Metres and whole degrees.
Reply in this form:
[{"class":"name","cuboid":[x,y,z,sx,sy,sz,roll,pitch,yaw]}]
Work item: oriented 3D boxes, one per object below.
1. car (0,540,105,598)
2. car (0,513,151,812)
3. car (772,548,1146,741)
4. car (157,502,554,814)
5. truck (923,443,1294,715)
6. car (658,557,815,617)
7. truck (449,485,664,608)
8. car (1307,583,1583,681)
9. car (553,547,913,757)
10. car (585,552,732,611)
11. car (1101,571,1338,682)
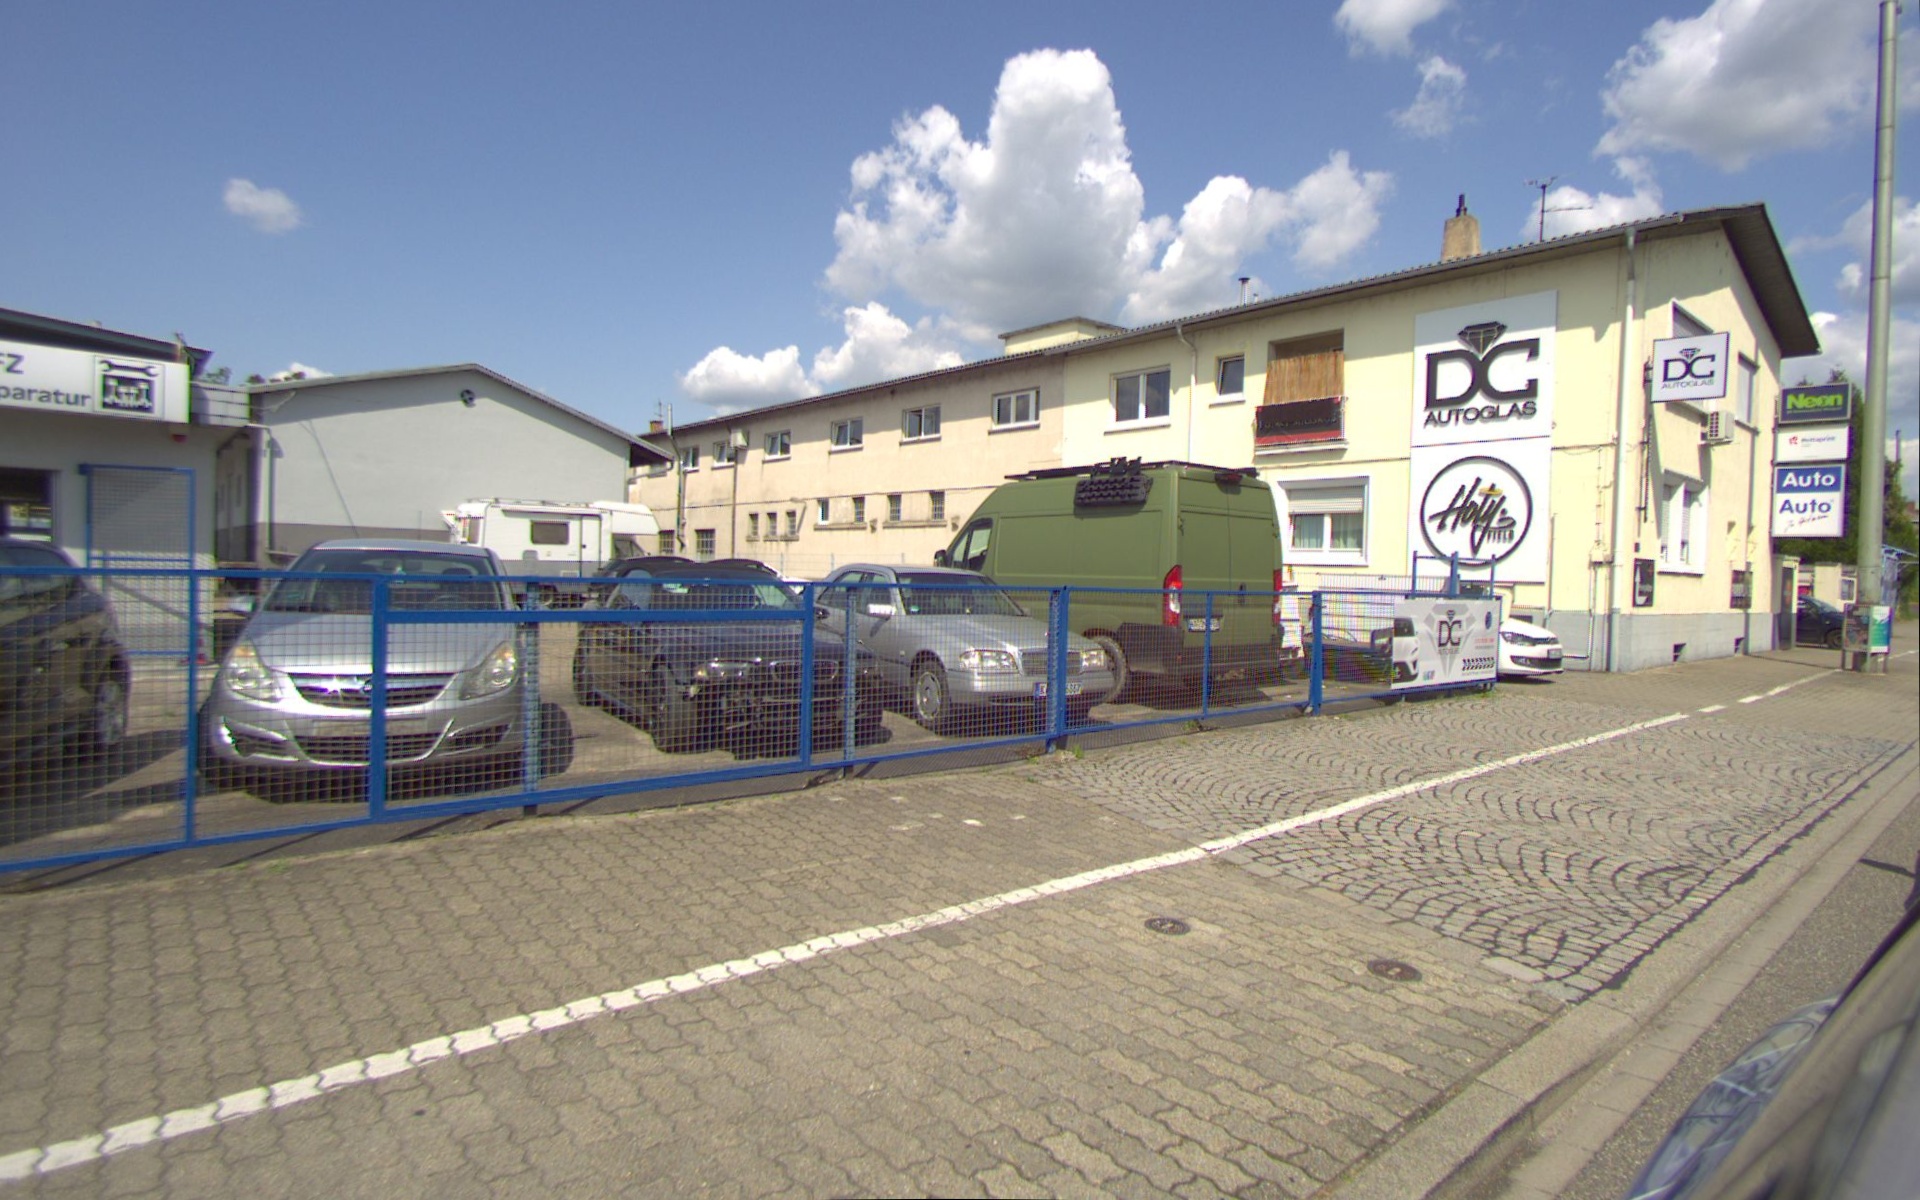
[{"class":"car","cuboid":[-29.579,-0.975,32.219,3.537,1.764,1.538,1,0,-43]},{"class":"car","cuboid":[-5.635,0.300,5.006,1.592,1.480,3.919,-1,3,-24]},{"class":"car","cuboid":[-0.250,0.329,10.272,1.792,1.527,4.265,-1,1,-33]},{"class":"car","cuboid":[-3.965,0.258,7.255,1.789,1.524,4.271,-1,1,-24]},{"class":"truck","cuboid":[1.628,-0.229,12.327,2.071,2.694,4.180,-1,0,-39]},{"class":"car","cuboid":[-5.071,-0.303,23.143,3.219,1.278,1.452,-1,1,-40]},{"class":"truck","cuboid":[-10.858,-1.400,27.454,5.000,3.046,2.157,-1,3,-42]},{"class":"car","cuboid":[7.634,0.434,16.220,1.490,1.375,3.727,-1,1,-37]},{"class":"car","cuboid":[-2.241,0.295,8.961,1.707,1.391,4.265,0,1,-34]},{"class":"car","cuboid":[-7.572,-0.457,25.513,3.268,1.396,1.425,-1,1,-40]},{"class":"car","cuboid":[3.558,0.291,14.235,1.309,1.290,3.034,-1,4,-39]}]
